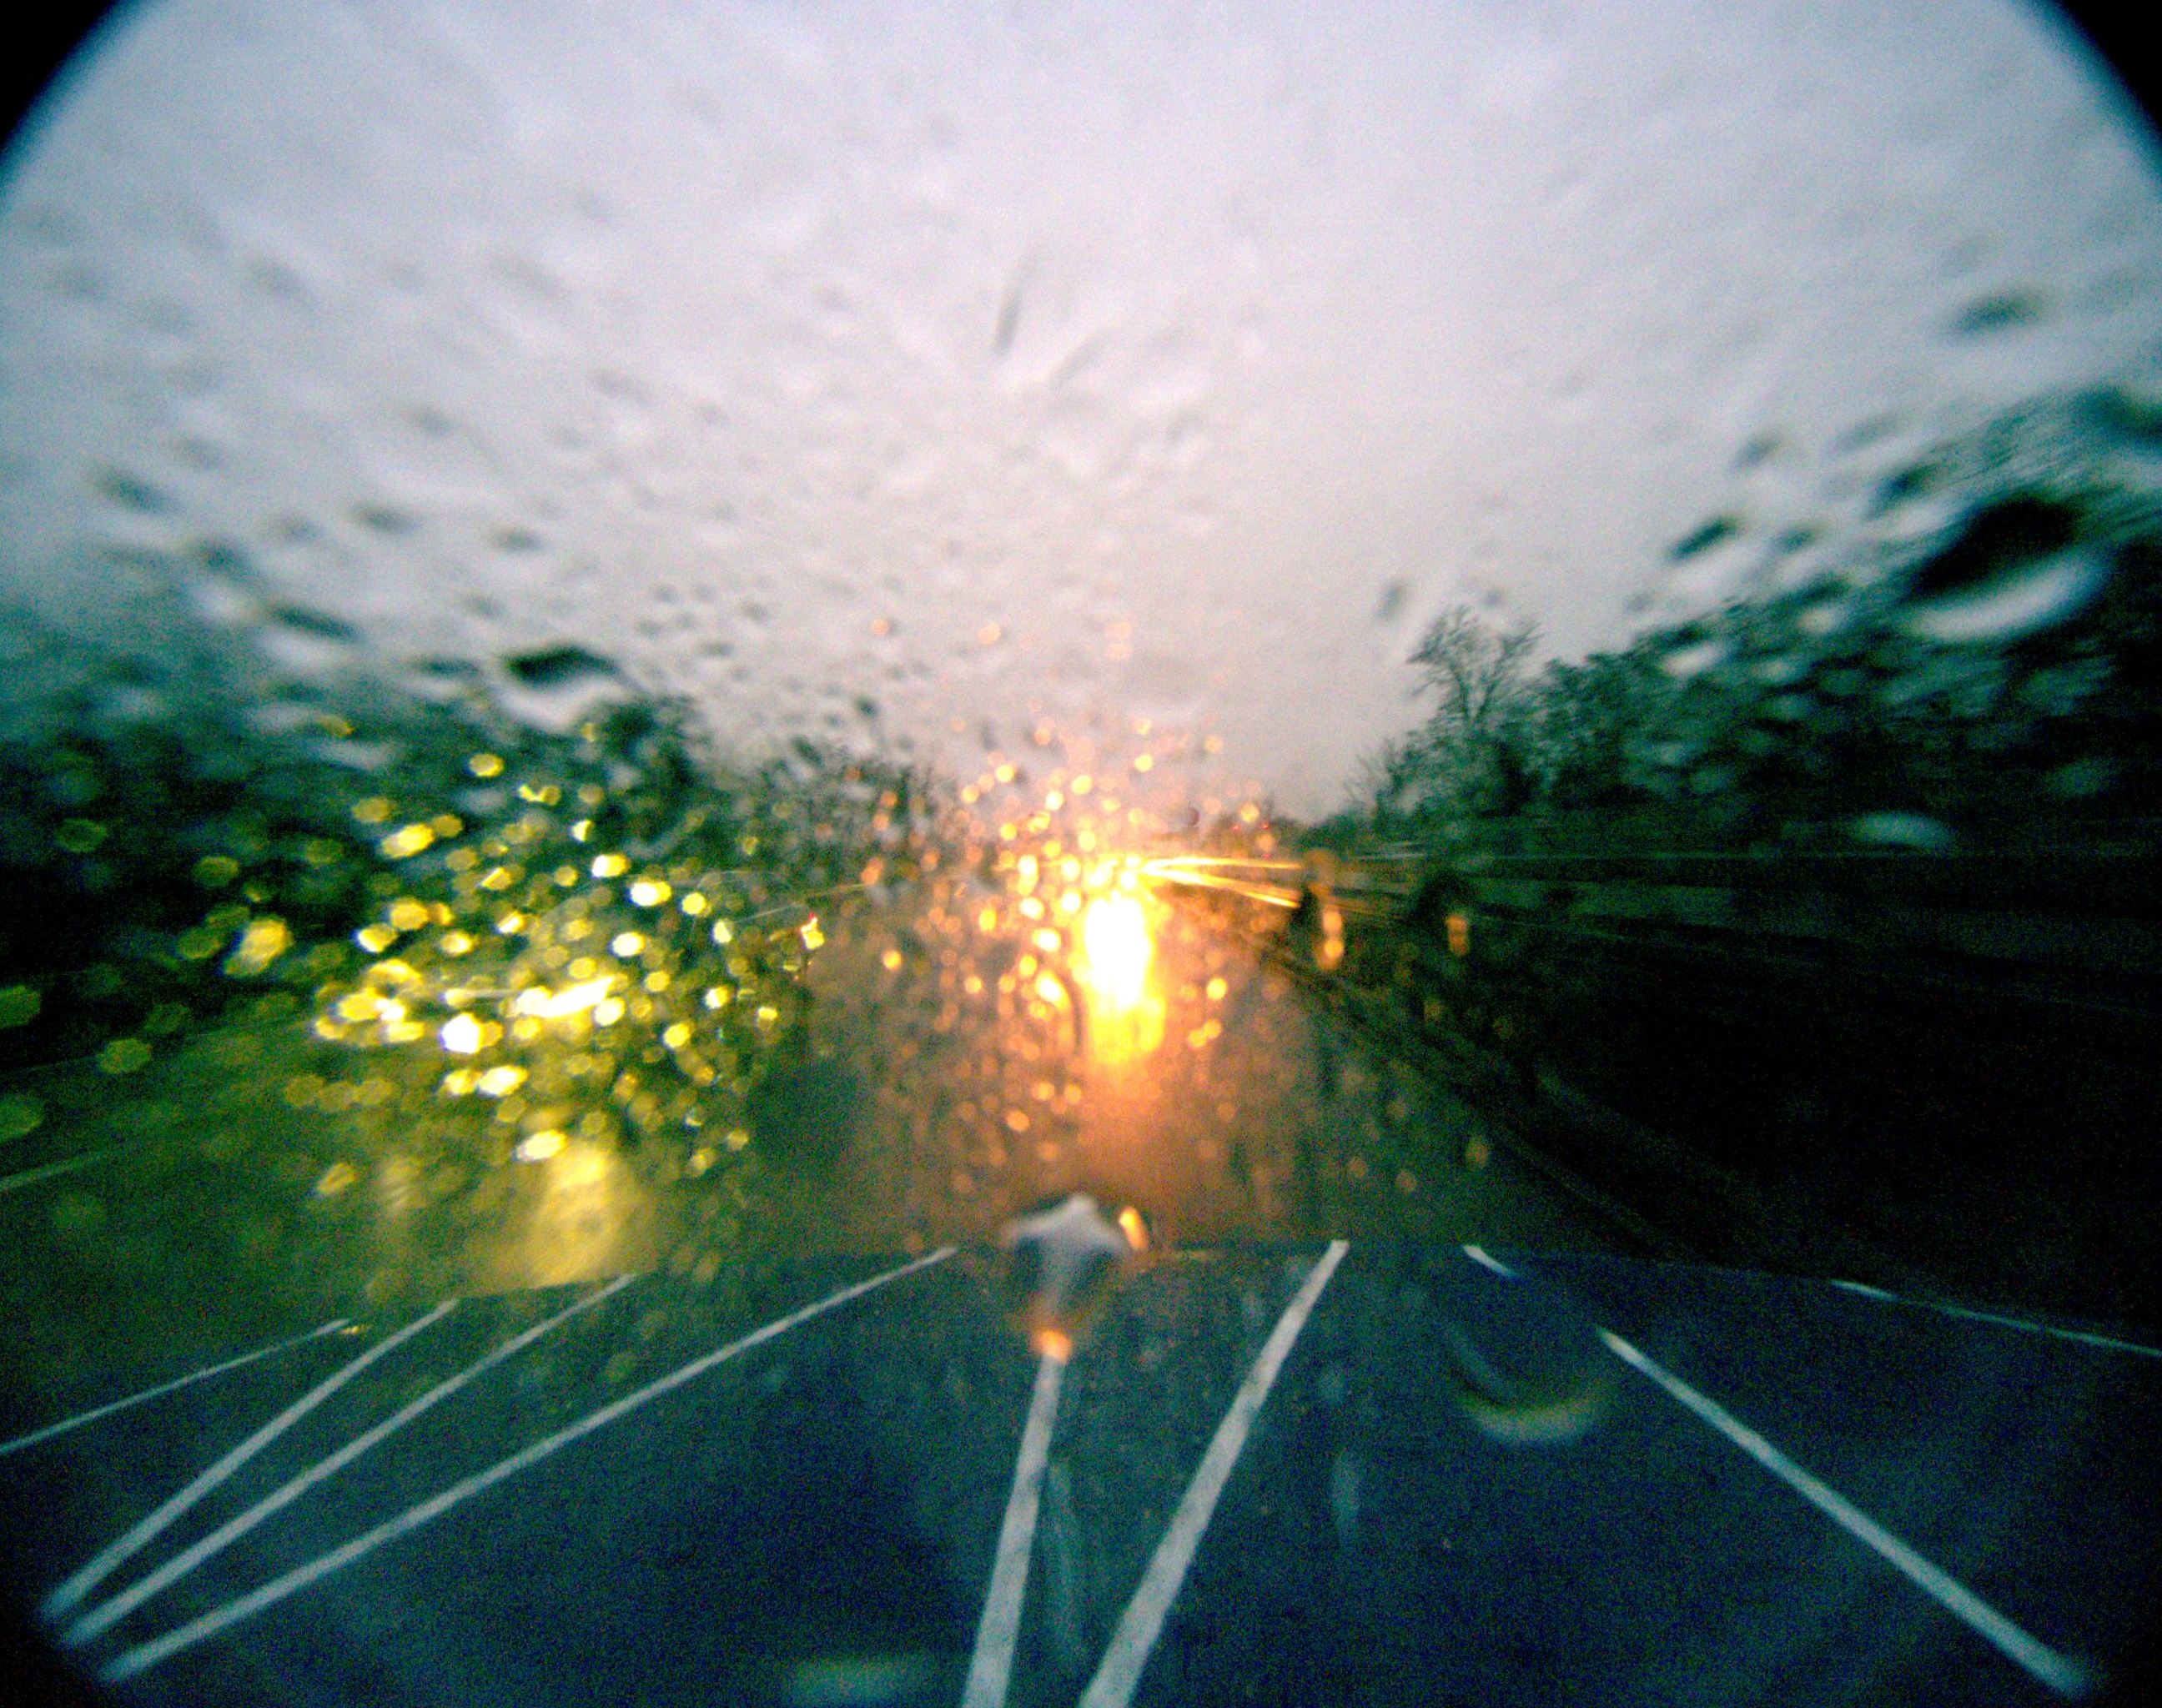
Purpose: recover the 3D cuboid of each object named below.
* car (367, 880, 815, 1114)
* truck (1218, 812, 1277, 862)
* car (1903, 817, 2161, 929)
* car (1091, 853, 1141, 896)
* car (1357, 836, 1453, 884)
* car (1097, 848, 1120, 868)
[{"bbox_3d":[-4.158,1.072,7.405,1.595,1.445,4.176,-2,0,0],"label":"car"},{"bbox_3d":[13.917,-1.375,64.374,3.085,3.835,9.369,-2,1,2],"label":"truck"},{"bbox_3d":[15.798,0.227,11.292,1.998,1.505,4.796,-2,1,1],"label":"car"},{"bbox_3d":[1.329,0.755,30.183,1.758,1.521,3.999,-2,1,0],"label":"car"},{"bbox_3d":[12.392,0.201,29.368,1.998,1.639,3.999,-2,1,1],"label":"car"},{"bbox_3d":[2.209,0.310,61.825,1.758,1.521,3.999,-2,1,0],"label":"car"}]
